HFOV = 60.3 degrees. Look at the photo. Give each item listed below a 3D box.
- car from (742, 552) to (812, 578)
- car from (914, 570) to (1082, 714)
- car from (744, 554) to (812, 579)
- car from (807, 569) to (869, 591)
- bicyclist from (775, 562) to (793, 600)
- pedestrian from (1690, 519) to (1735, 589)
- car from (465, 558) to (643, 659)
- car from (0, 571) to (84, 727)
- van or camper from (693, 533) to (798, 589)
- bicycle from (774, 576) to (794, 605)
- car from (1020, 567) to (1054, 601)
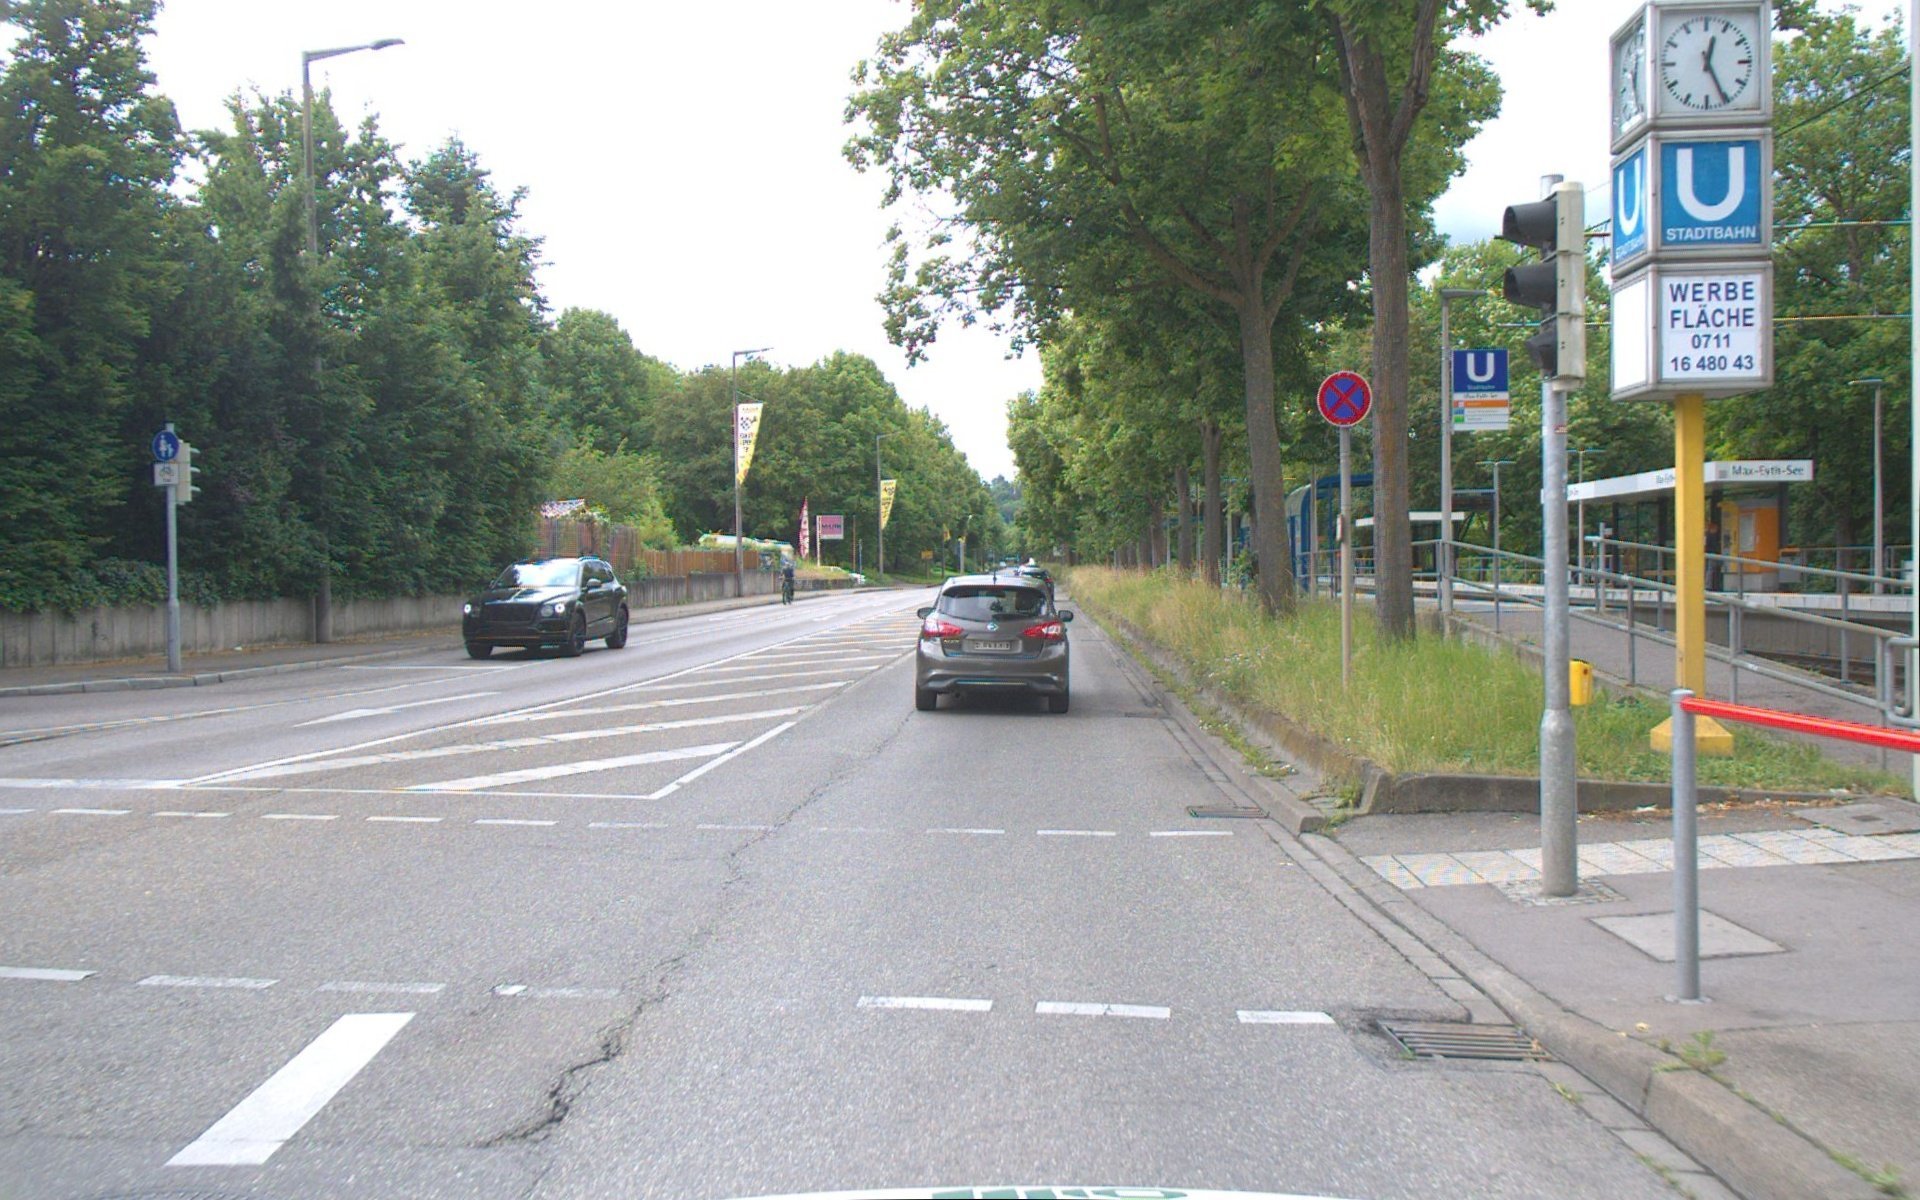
[{"bbox_3d":[-11.122,-2.126,100.579,3.902,1.523,1.861,1,0,7],"label":"car"},{"bbox_3d":[0.551,0.429,19.916,1.798,1.555,3.931,0,1,4],"label":"car"},{"bbox_3d":[-11.257,-2.089,102.458,3.902,1.435,1.535,1,0,7],"label":"car"},{"bbox_3d":[-8.878,-1.471,120.700,4.285,1.466,1.961,1,1,0],"label":"car"},{"bbox_3d":[-7.415,-0.802,69.749,0.629,1.562,0.978,1,1,-2],"label":"bicyclist"},{"bbox_3d":[16.833,-1.014,36.999,0.703,1.537,0.724,1,0,5],"label":"pedestrian"},{"bbox_3d":[-7.447,0.117,30.878,1.862,1.708,5.082,0,1,3],"label":"car"},{"bbox_3d":[-10.625,0.444,15.139,1.711,1.490,4.331,1,0,32],"label":"car"},{"bbox_3d":[-15.636,-2.847,120.793,6.994,3.428,2.798,5,1,3],"label":"van or camper"},{"bbox_3d":[-7.422,-0.411,69.867,0.629,1.165,2.147,1,1,-2],"label":"bicycle"},{"bbox_3d":[3.624,-0.747,77.230,1.471,1.555,3.673,1,1,4],"label":"car"}]
